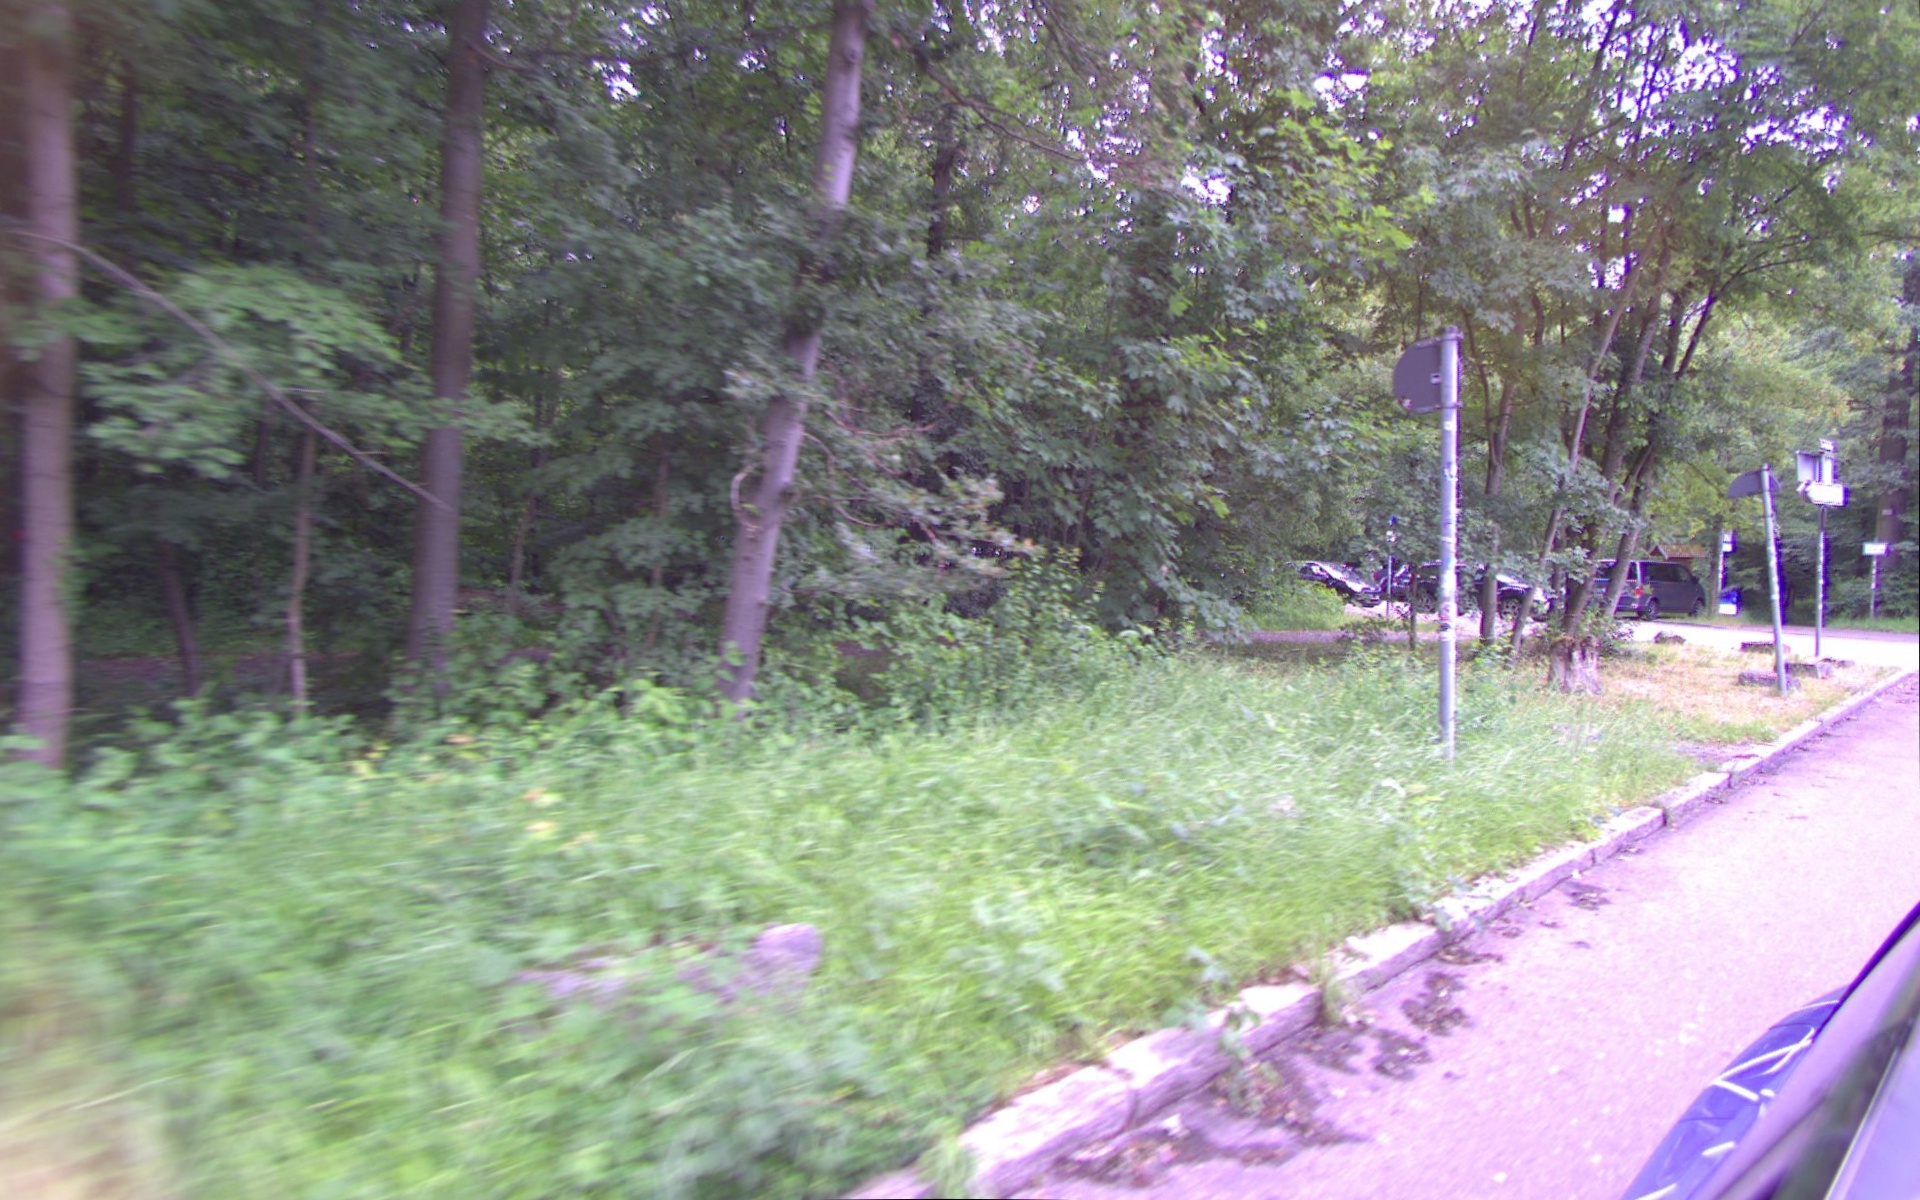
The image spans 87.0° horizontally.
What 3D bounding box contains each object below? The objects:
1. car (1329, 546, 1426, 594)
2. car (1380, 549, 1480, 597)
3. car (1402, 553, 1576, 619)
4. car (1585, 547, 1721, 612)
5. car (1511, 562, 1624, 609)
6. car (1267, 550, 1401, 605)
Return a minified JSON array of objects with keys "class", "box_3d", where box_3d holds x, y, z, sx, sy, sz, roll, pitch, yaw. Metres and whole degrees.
[{"class":"car","box_3d":[17.665,-1.241,42.803,3.921,1.885,1.815,0,3,-32]},{"class":"car","box_3d":[18.917,-1.081,40.713,3.922,1.787,1.826,0,3,-33]},{"class":"car","box_3d":[15.266,-0.470,29.413,1.779,1.653,4.106,0,4,-30]},{"class":"car","box_3d":[23.133,-0.665,33.769,4.426,2.002,1.894,1,3,-29]},{"class":"car","box_3d":[21.823,-0.519,36.362,3.750,1.531,1.812,1,3,-29]},{"class":"car","box_3d":[12.578,-0.812,34.298,1.779,1.653,4.005,0,4,-30]}]
